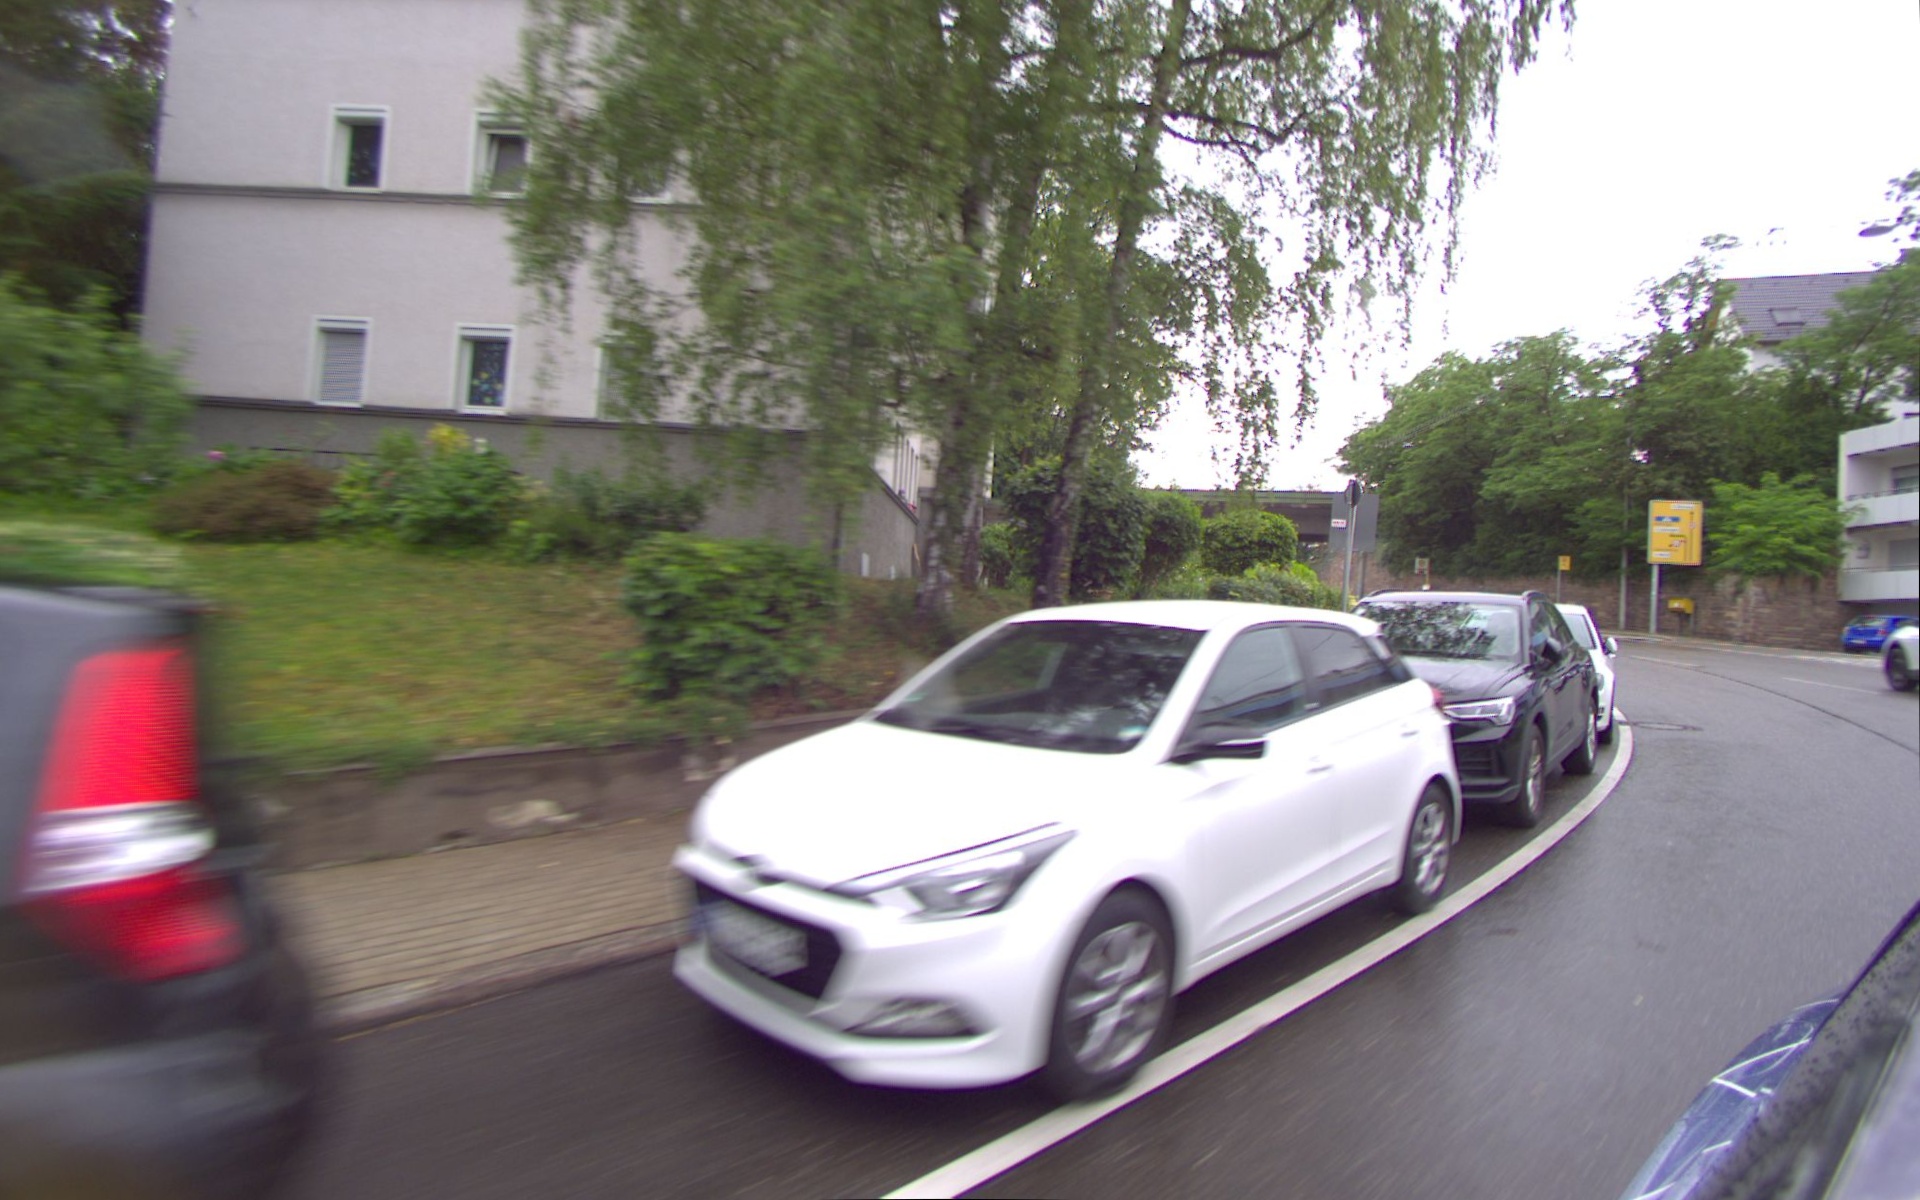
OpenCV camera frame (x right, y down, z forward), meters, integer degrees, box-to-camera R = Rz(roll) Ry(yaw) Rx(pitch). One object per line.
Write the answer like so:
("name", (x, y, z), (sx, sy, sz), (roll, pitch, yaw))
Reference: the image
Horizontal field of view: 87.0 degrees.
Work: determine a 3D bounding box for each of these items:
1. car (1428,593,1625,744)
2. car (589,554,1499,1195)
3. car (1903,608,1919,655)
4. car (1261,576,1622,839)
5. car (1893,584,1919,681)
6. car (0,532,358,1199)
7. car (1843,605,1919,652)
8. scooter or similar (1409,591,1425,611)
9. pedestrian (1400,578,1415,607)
("car", (6.931, 0.661, 12.199), (1.783, 1.464, 4.057), (0, 1, 33))
("car", (0.696, 0.618, 4.386), (3.964, 1.482, 1.728), (0, 3, -44))
("car", (32.046, 1.136, 31.663), (3.376, 1.463, 1.708), (5, 0, -1))
("car", (4.054, 0.625, 8.099), (1.622, 1.538, 4.264), (1, 0, 40))
("car", (16.532, 0.605, 15.545), (1.812, 1.626, 4.252), (4, 2, 23))
("car", (-2.914, 0.623, 1.286), (3.538, 1.523, 1.625), (0, 2, -37))
("car", (32.263, 1.038, 34.252), (3.373, 1.407, 1.640), (4, 2, -6))
("scooter or similar", (28.446, 0.047, 63.018), (0.367, 1.196, 1.126), (2, 2, -2))
("pedestrian", (27.692, -0.492, 62.636), (0.578, 1.753, 0.624), (2, 2, -4))
